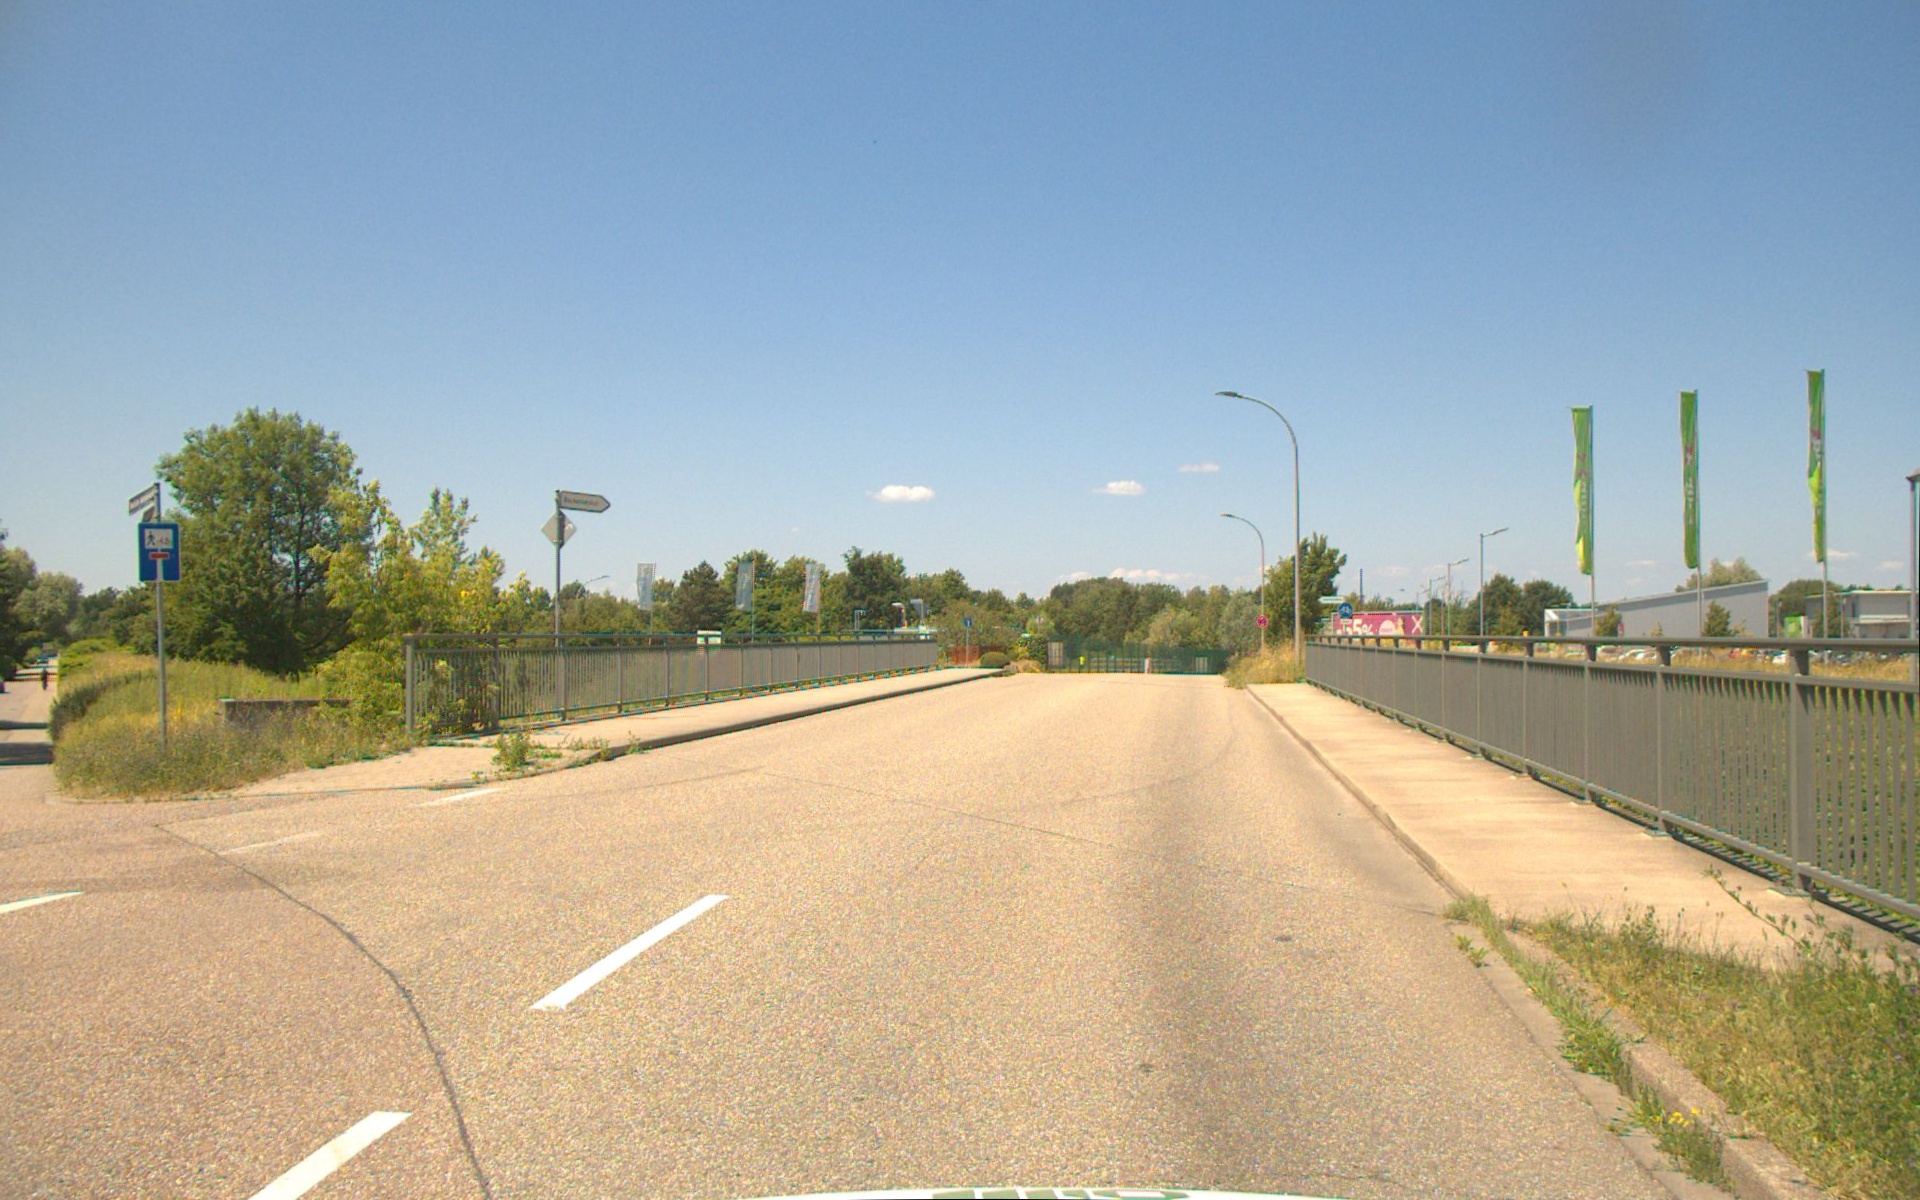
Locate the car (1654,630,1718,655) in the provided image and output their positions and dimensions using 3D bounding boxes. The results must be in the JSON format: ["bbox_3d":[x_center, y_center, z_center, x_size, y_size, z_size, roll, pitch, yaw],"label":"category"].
[{"bbox_3d":[48.456,2.829,110.517,3.656,1.598,1.892,0,-1,14],"label":"car"}]

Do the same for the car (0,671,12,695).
[{"bbox_3d":[-69.462,6.004,118.937,1.976,1.624,3.952,-1,-1,-34],"label":"car"}]

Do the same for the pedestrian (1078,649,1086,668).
[{"bbox_3d":[12.097,5.773,163.949,0.593,1.871,0.805,-1,-3,16],"label":"pedestrian"}]

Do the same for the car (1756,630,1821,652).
[{"bbox_3d":[61.006,3.005,121.886,3.902,1.546,2.001,-1,-3,13],"label":"car"}]
